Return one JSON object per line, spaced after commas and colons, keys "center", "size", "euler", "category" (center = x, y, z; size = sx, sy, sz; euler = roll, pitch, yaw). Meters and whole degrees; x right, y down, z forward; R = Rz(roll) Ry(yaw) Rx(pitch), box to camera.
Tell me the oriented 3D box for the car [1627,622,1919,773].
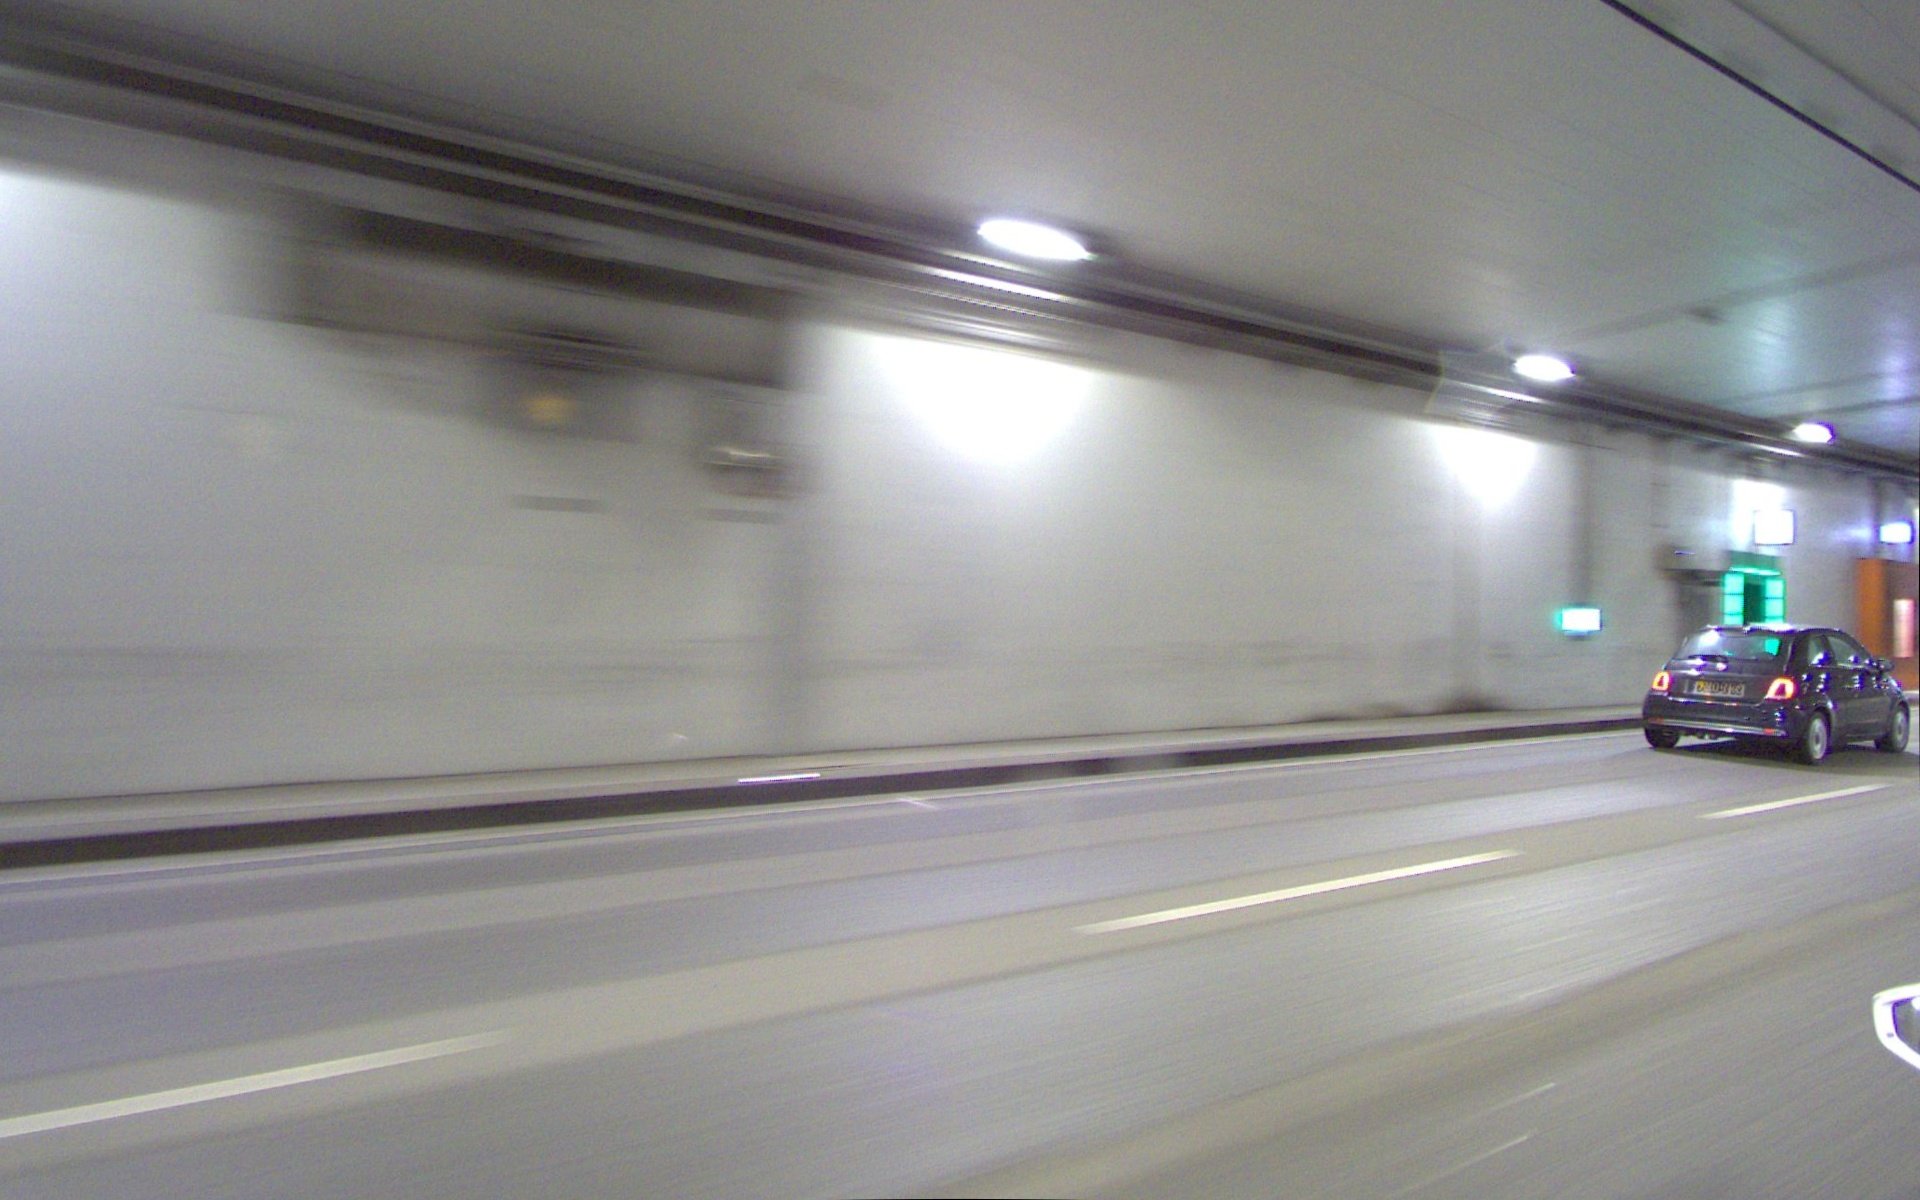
{"center": [9.673, 1.053, 11.830], "size": [3.531, 1.474, 1.604], "euler": [1, 1, -30], "category": "car"}
